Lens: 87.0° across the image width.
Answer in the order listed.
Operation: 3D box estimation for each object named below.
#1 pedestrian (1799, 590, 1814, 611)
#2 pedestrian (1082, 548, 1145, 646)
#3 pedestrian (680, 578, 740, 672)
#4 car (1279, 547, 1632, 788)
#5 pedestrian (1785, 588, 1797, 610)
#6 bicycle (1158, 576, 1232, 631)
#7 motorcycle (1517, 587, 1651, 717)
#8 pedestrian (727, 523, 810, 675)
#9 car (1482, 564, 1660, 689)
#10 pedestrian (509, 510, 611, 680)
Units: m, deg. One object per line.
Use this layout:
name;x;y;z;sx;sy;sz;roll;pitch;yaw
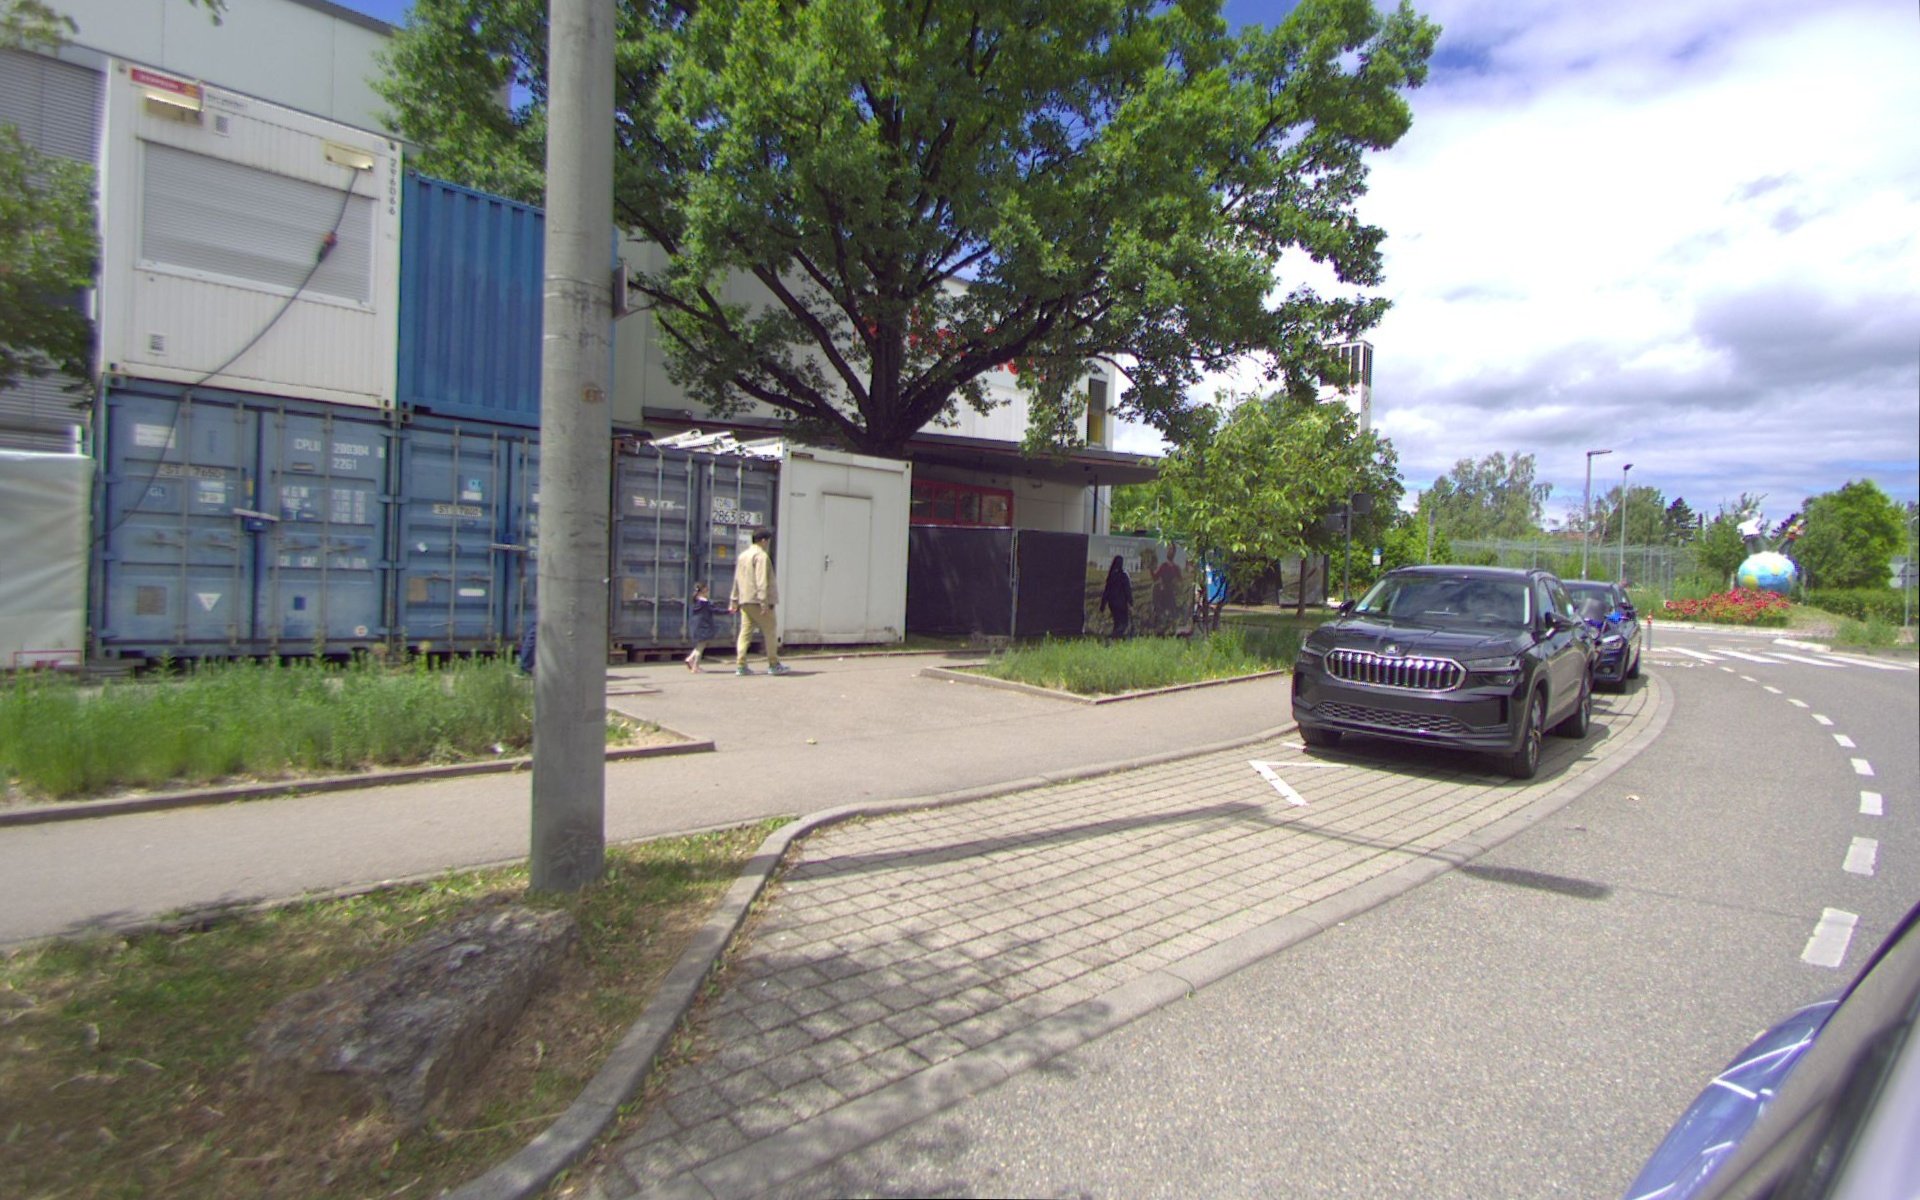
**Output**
pedestrian;64.746;0.034;77.414;0.758;1.577;0.595;0;0;31
pedestrian;2.651;-0.060;17.429;0.754;1.638;0.743;0;2;-43
pedestrian;-2.962;0.282;12.014;0.557;1.071;0.412;0;2;-43
car;4.885;0.413;9.540;1.877;1.641;4.778;4;4;39
pedestrian;63.872;-0.086;77.764;0.603;1.718;0.561;2;1;31
bicycle;5.160;0.071;22.201;1.755;1.169;0.452;0;1;-31
motorcycle;7.540;0.553;12.165;1.069;1.321;2.230;6;4;37
pedestrian;-2.258;-0.027;11.925;0.712;1.717;0.651;0;2;-43
car;9.714;0.302;15.915;1.913;1.597;4.371;4;3;37
pedestrian;-4.256;-0.066;10.774;0.830;1.718;0.652;0;2;-43
